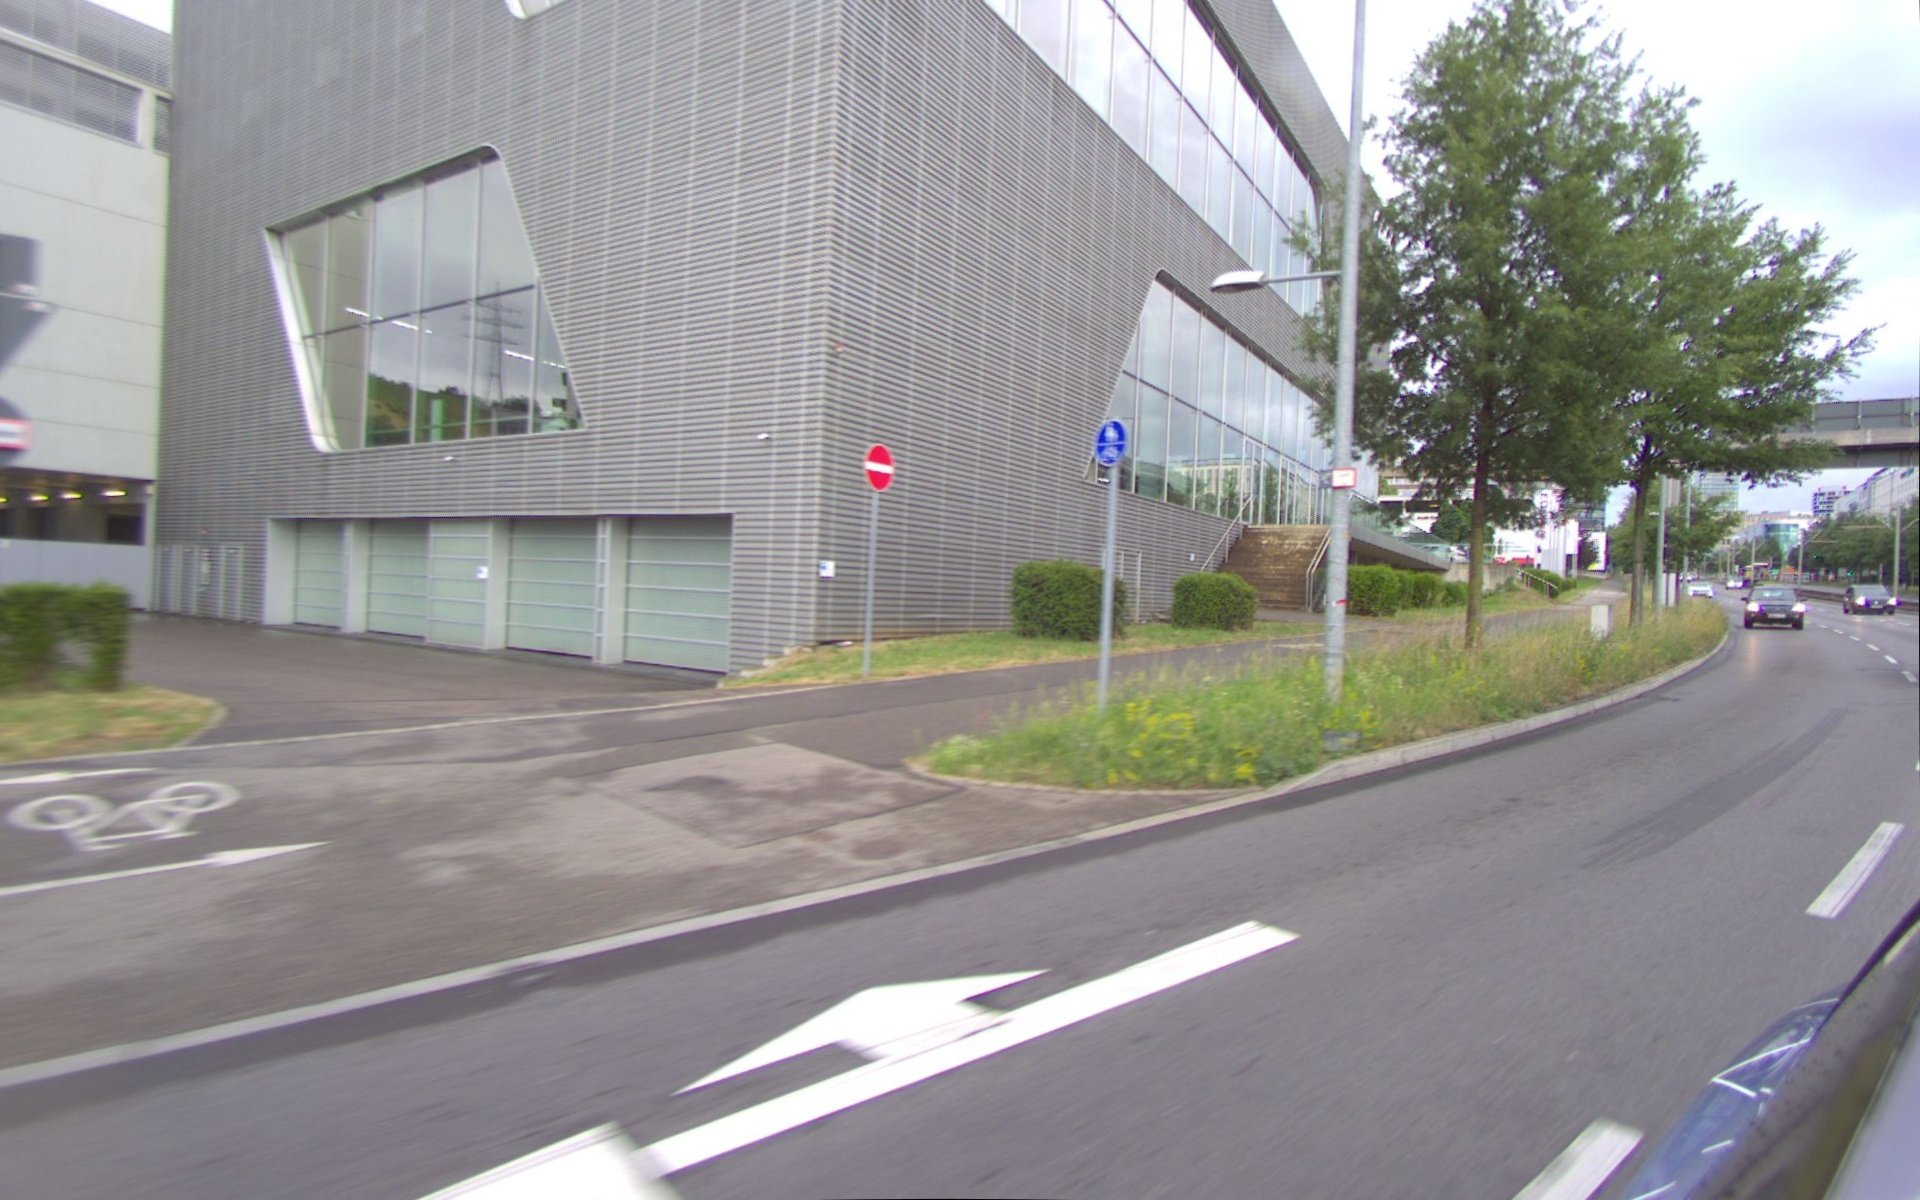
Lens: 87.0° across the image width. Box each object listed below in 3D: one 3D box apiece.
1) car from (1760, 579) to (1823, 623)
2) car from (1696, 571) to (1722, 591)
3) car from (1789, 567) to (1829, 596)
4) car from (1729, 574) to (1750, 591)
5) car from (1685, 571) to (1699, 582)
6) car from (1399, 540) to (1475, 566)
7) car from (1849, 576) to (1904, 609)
[{"bbox_3d":[32.703,0.019,39.830,1.821,1.629,4.055,1,0,39],"label":"car"},{"bbox_3d":[69.616,-1.756,94.085,1.851,1.833,4.060,1,0,36],"label":"car"},{"bbox_3d":[61.899,-1.380,73.840,1.989,2.038,3.948,0,2,37],"label":"car"},{"bbox_3d":[101.061,-2.258,131.220,1.987,2.038,3.951,0,2,35],"label":"car"},{"bbox_3d":[129.644,-4.165,179.217,1.987,1.871,3.951,0,2,35],"label":"car"},{"bbox_3d":[30.522,-2.962,64.788,4.243,1.594,1.672,1,1,34],"label":"car"},{"bbox_3d":[51.699,-0.409,57.159,1.851,1.833,4.060,1,0,36],"label":"car"}]
